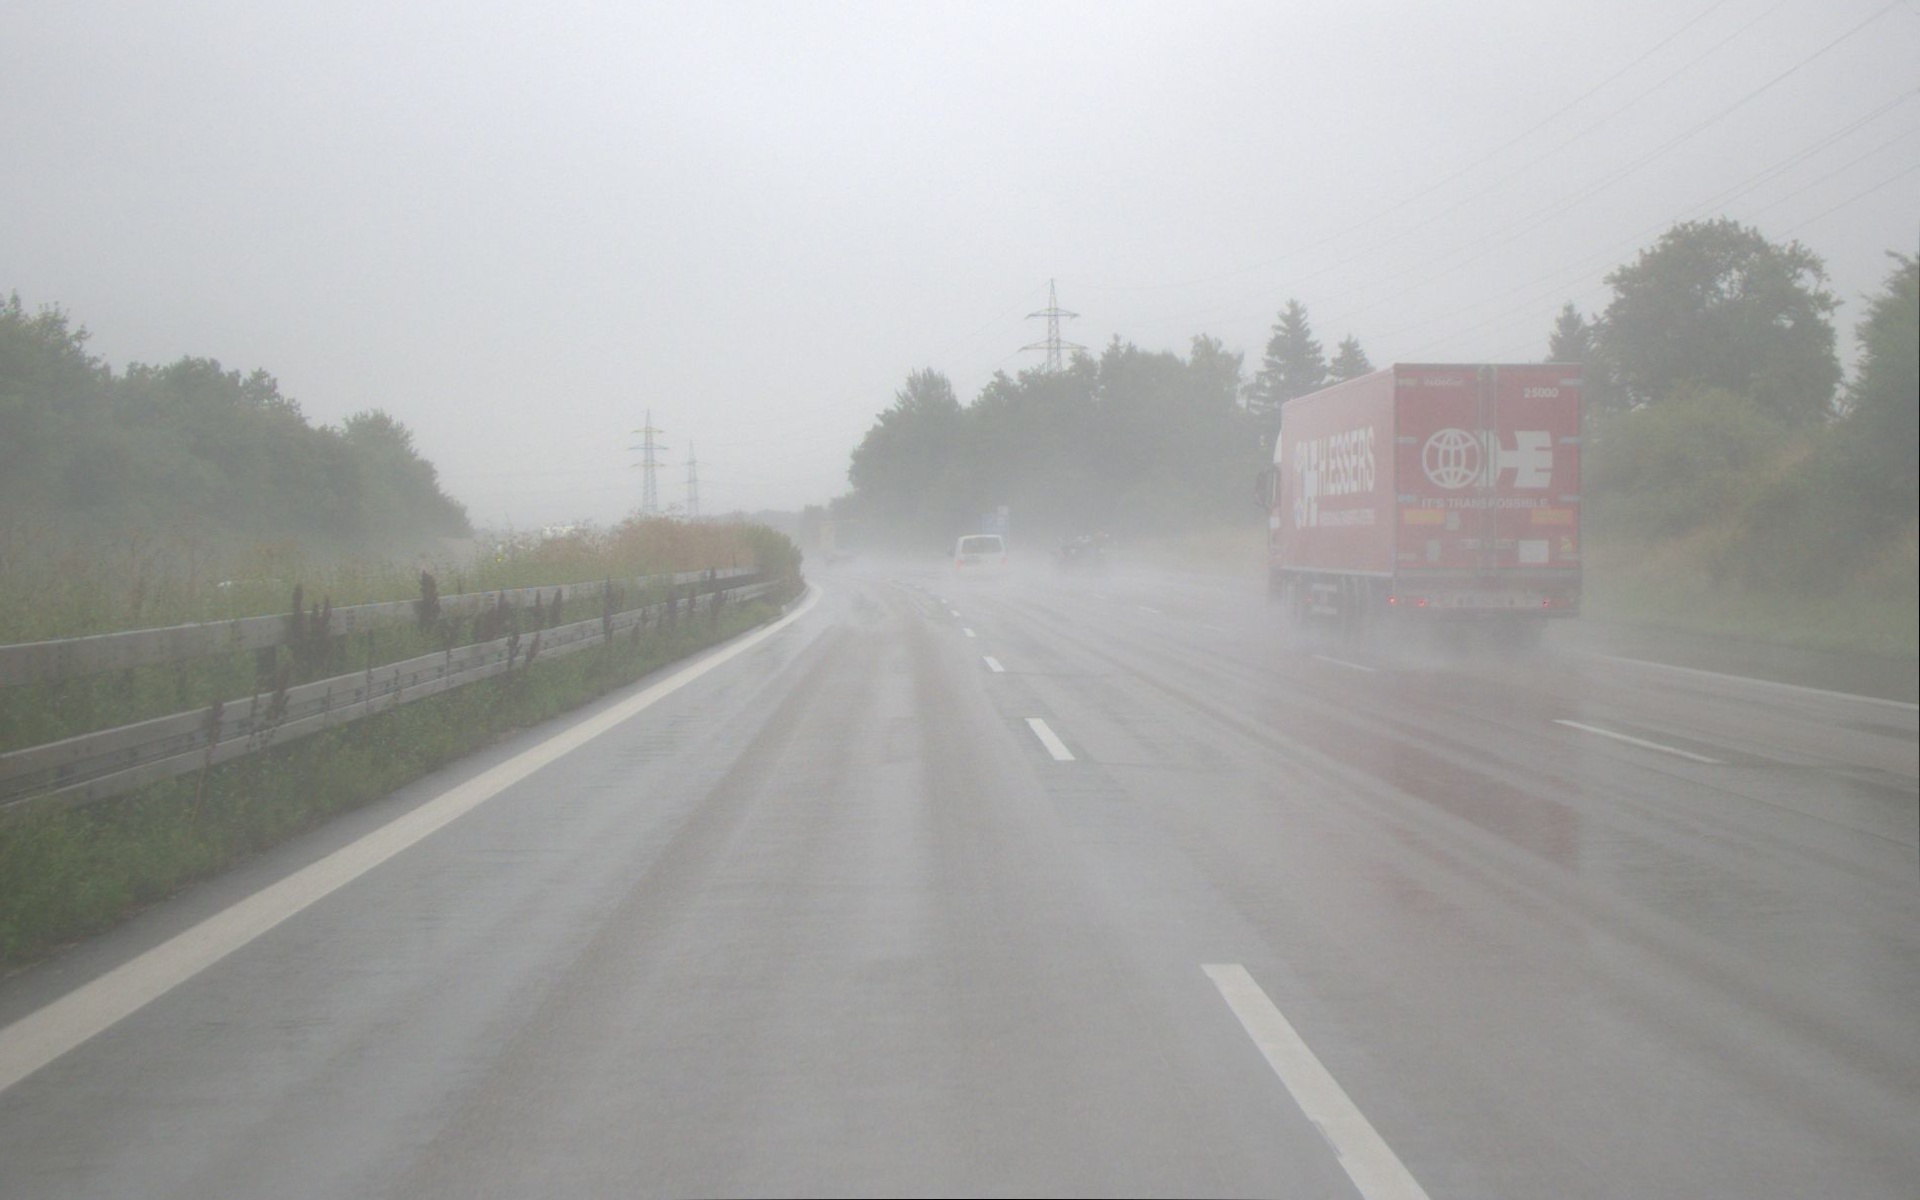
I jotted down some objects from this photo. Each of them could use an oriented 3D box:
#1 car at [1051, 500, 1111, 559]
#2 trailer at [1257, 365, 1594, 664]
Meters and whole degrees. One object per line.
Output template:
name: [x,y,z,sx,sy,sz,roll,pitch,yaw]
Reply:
car: [4.668,-2.733,133.228,1.807,2.151,4.001,-2,1,-4]
trailer: [6.920,-1.261,53.579,2.620,3.941,13.632,-3,1,-3]
